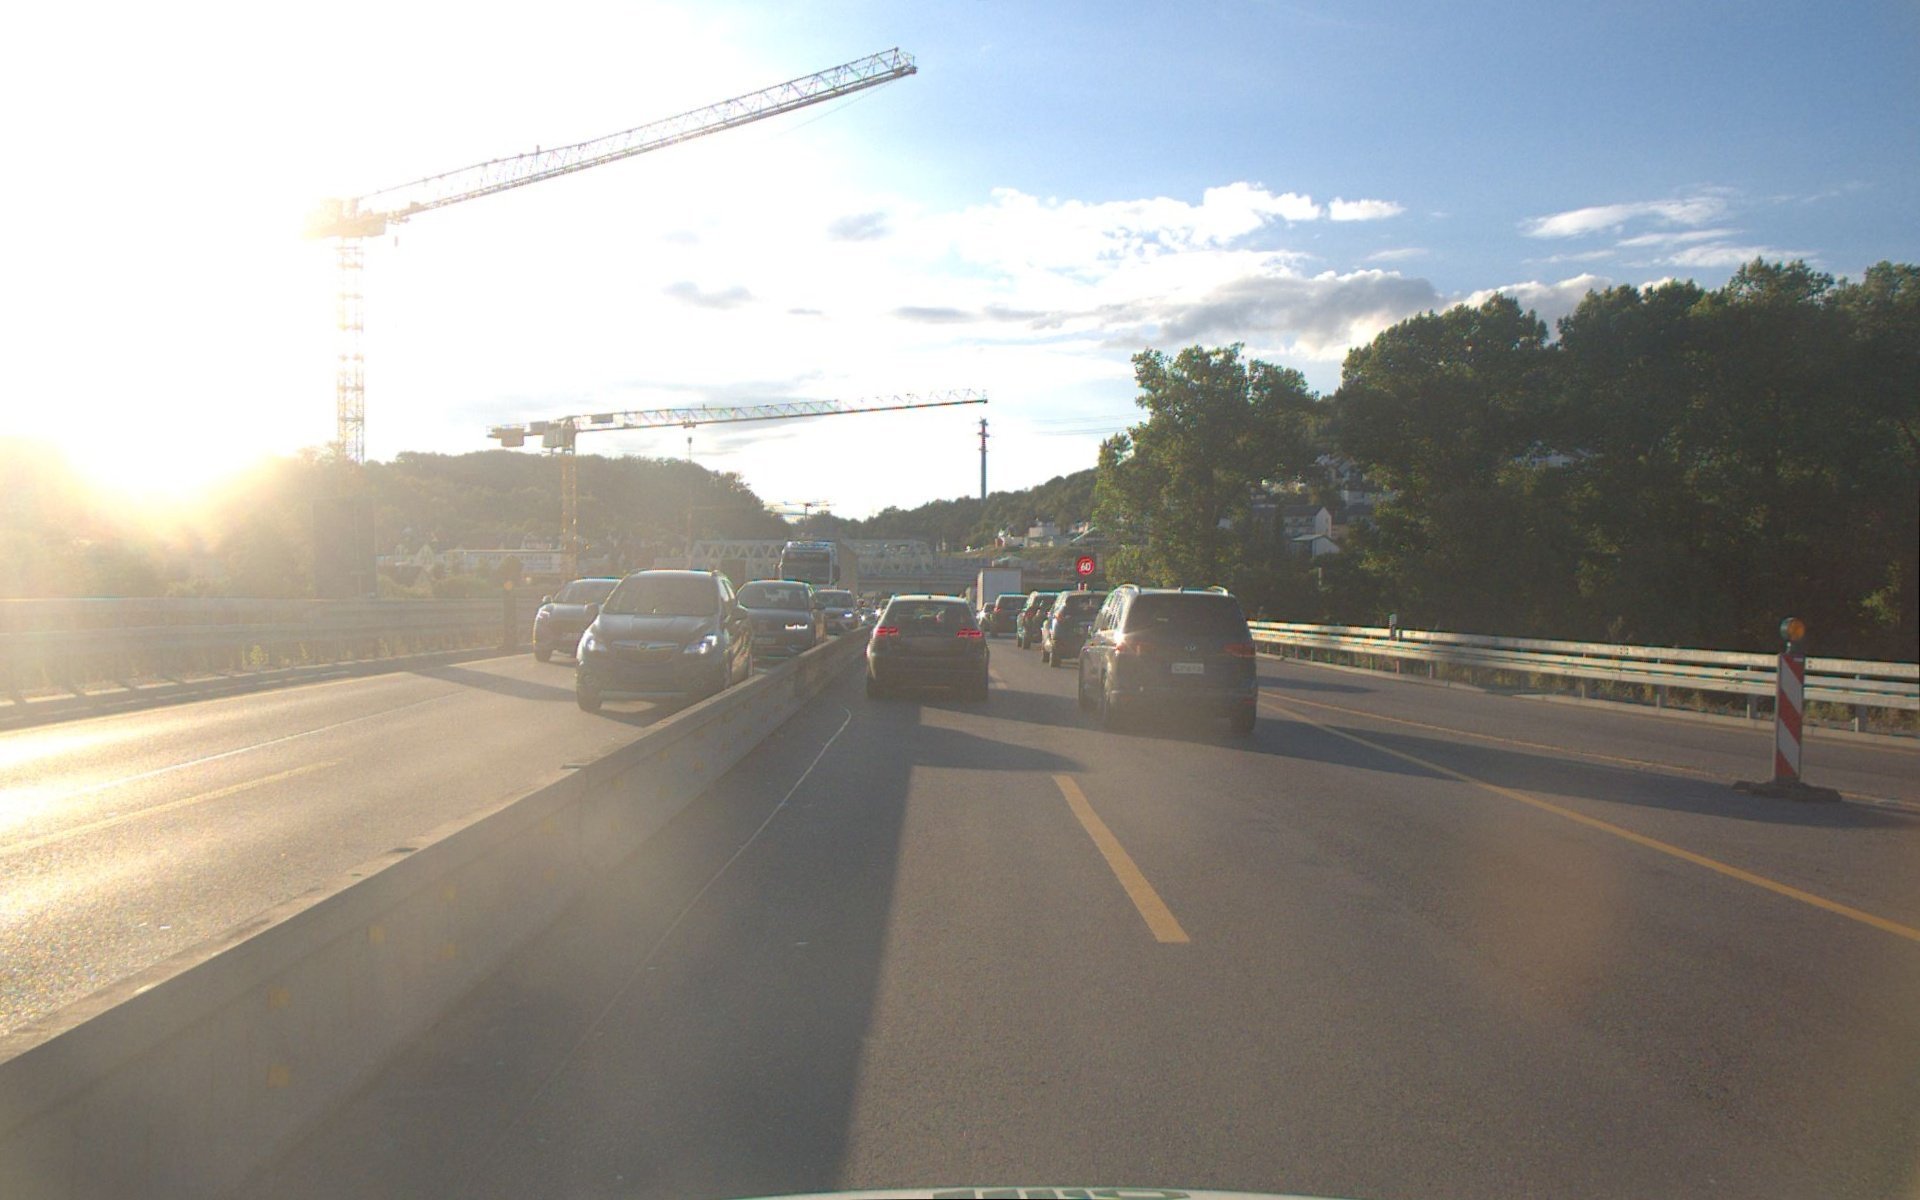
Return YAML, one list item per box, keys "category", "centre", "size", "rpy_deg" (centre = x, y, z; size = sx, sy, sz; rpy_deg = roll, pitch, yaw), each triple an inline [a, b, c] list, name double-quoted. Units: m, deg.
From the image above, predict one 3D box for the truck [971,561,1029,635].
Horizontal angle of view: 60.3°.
- category: "truck"
  centre: [2.564, -0.283, 112.049]
  size: [3.316, 4.576, 15.267]
  rpy_deg: [2, 1, 0]

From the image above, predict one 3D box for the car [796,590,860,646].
- category: "car"
  centre: [-3.978, 0.553, 50.322]
  size: [1.731, 1.562, 3.998]
  rpy_deg: [2, -1, -2]

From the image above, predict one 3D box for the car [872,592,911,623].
- category: "car"
  centre: [-3.733, 0.413, 90.964]
  size: [1.953, 1.647, 4.605]
  rpy_deg: [1, 0, 0]

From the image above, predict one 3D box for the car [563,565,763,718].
- category: "car"
  centre: [-3.554, 0.457, 20.600]
  size: [1.790, 1.668, 4.528]
  rpy_deg: [1, 0, -2]

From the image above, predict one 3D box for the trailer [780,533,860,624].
- category: "trailer"
  centre: [-6.823, -0.927, 82.724]
  size: [2.756, 4.121, 14.020]
  rpy_deg: [1, 0, 0]

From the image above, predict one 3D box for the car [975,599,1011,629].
- category: "car"
  centre: [1.800, 0.777, 91.302]
  size: [1.734, 1.580, 3.998]
  rpy_deg: [2, -1, -2]

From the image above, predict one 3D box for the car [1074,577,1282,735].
- category: "car"
  centre: [2.542, 0.588, 20.359]
  size: [1.776, 1.643, 4.525]
  rpy_deg: [3, 1, -2]

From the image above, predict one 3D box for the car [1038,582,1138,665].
- category: "car"
  centre: [2.674, 0.491, 35.283]
  size: [1.738, 1.614, 4.134]
  rpy_deg: [2, 0, 0]

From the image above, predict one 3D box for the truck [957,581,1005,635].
- category: "truck"
  centre: [1.823, 0.661, 150.853]
  size: [3.811, 4.577, 15.264]
  rpy_deg: [2, 0, -1]

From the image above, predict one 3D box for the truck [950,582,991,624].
- category: "truck"
  centre: [1.149, 0.319, 193.529]
  size: [3.813, 4.577, 13.840]
  rpy_deg: [2, 0, -3]

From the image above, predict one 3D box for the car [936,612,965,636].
- category: "car"
  centre: [-0.661, 1.561, 108.175]
  size: [1.825, 1.445, 3.999]
  rpy_deg: [2, -1, -1]

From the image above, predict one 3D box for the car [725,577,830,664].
- category: "car"
  centre: [-3.630, 0.377, 33.612]
  size: [1.707, 1.611, 4.704]
  rpy_deg: [1, 0, -2]

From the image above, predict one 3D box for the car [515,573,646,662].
- category: "car"
  centre: [-7.299, 0.315, 32.185]
  size: [1.657, 1.596, 4.291]
  rpy_deg: [1, 0, -2]

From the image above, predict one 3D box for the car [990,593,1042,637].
- category: "car"
  centre: [2.177, 0.604, 65.303]
  size: [1.778, 1.661, 4.409]
  rpy_deg: [2, -1, -1]

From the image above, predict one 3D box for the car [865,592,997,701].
- category: "car"
  centre: [-0.469, 0.620, 24.164]
  size: [1.734, 1.414, 3.998]
  rpy_deg: [2, 0, -2]

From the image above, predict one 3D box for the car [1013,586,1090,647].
- category: "car"
  centre: [2.579, 0.510, 47.410]
  size: [1.837, 1.627, 4.964]
  rpy_deg: [1, -1, -1]

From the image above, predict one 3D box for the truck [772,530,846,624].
- category: "truck"
  centre: [-6.843, -0.985, 75.698]
  size: [2.756, 4.119, 5.672]
  rpy_deg: [1, -1, 0]
